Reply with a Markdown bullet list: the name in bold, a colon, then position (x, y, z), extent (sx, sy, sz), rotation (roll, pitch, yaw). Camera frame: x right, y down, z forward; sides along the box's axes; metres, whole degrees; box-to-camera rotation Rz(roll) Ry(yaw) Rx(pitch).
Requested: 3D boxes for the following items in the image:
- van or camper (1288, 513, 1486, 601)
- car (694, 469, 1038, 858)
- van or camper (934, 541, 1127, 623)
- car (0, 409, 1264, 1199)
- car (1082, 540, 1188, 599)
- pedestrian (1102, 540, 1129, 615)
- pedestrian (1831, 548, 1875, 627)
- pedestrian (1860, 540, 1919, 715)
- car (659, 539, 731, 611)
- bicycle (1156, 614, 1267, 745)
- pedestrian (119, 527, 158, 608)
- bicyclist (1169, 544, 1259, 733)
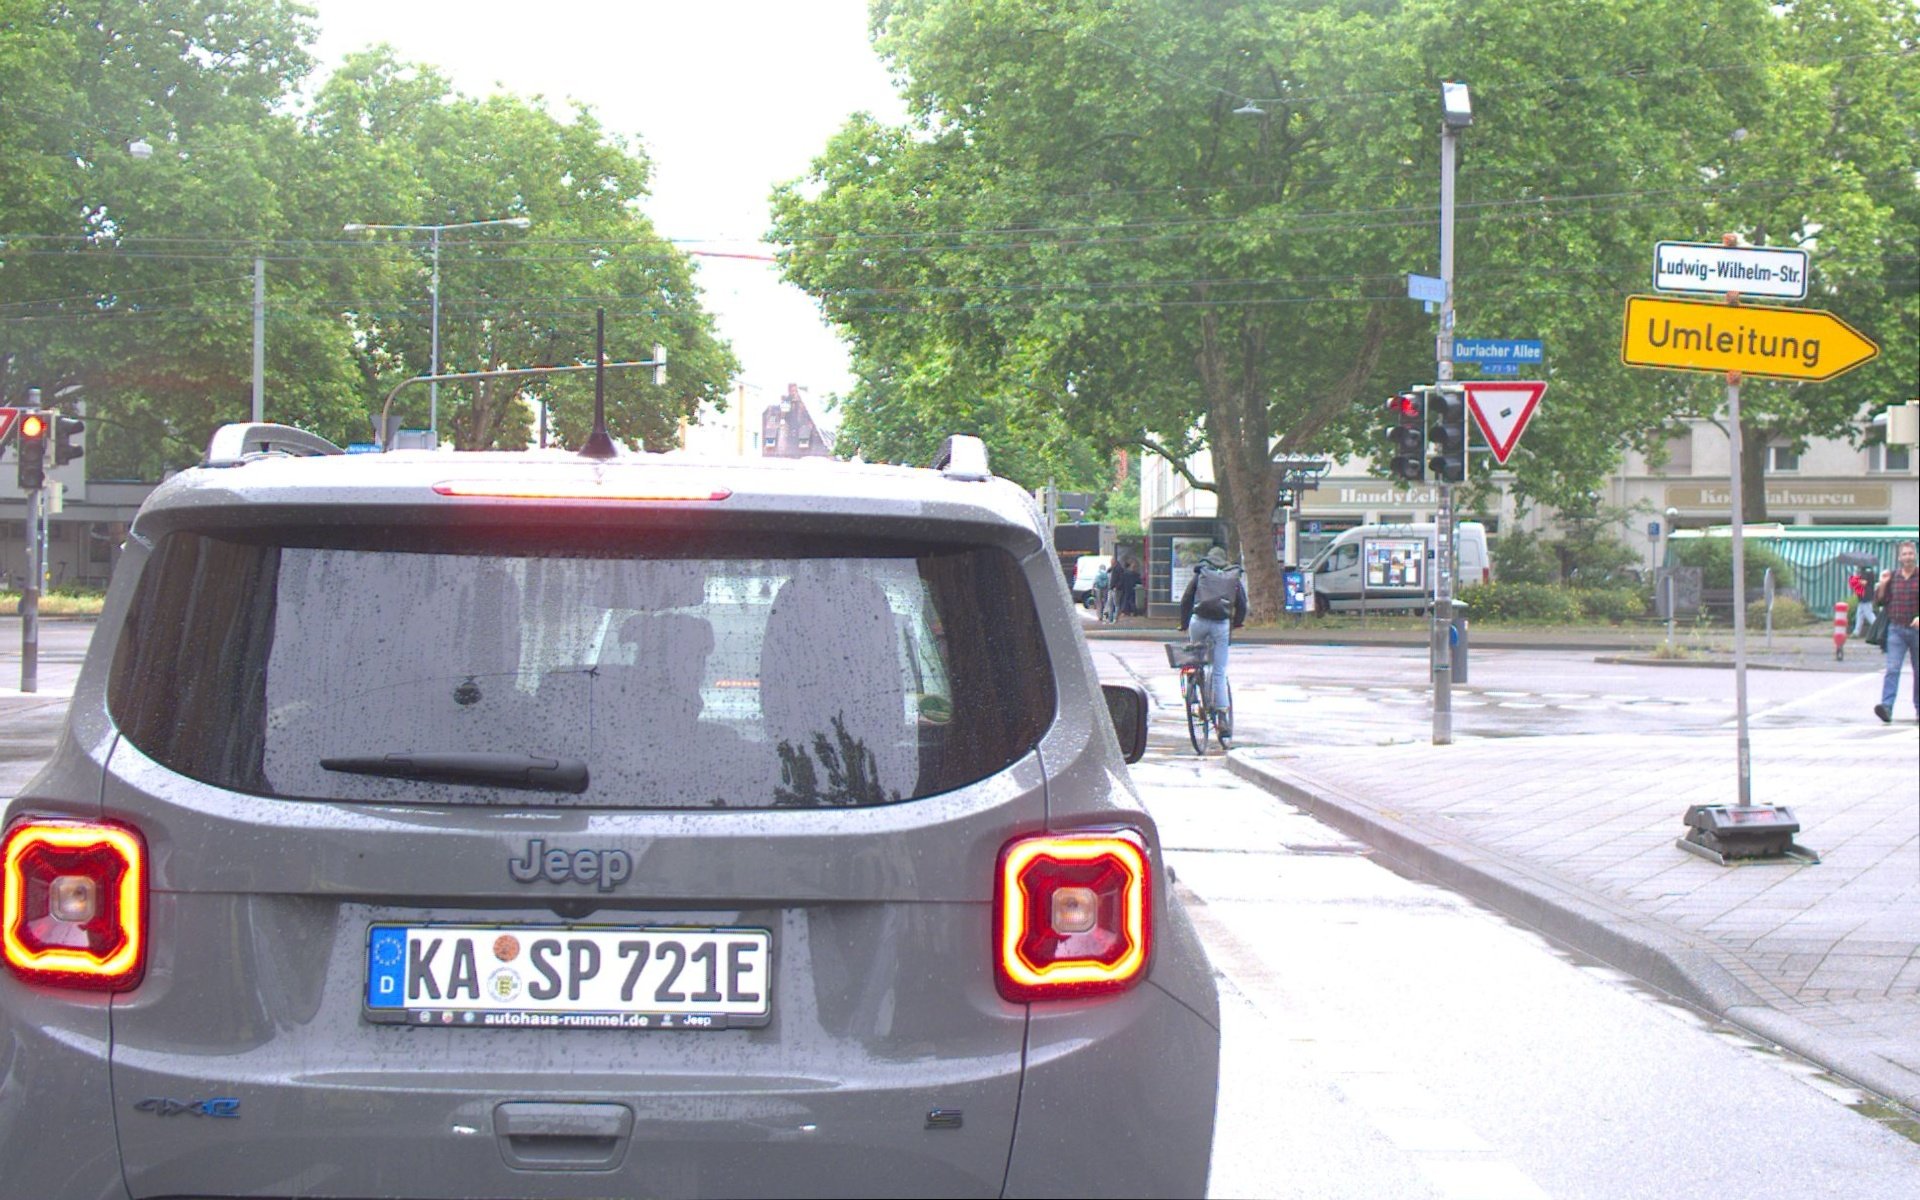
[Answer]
- **van or camper**: position (11.738, -1.196, 94.806), extent (5.260, 2.307, 2.090), rotation (1, 1, 3)
- **car**: position (-0.526, 0.299, 19.813), extent (1.770, 2.007, 4.000), rotation (0, 1, -1)
- **van or camper**: position (2.554, -0.672, 124.765), extent (6.535, 2.902, 2.491), rotation (1, 1, 24)
- **car**: position (-0.569, 0.581, 6.177), extent (1.775, 1.681, 3.848), rotation (-1, 1, -2)
- **car**: position (6.075, -1.060, 119.345), extent (3.438, 2.007, 1.547), rotation (0, 0, 13)
- **pedestrian**: position (4.188, -0.611, 92.610), extent (0.651, 2.007, 0.482), rotation (1, 1, 12)
- **pedestrian**: position (17.618, -0.241, 67.834), extent (0.674, 1.548, 0.760), rotation (1, -1, 27)
- **pedestrian**: position (9.593, 0.269, 35.051), extent (0.786, 1.753, 0.945), rotation (0, 1, 14)
- **car**: position (-6.504, -0.628, 84.375), extent (1.721, 1.733, 3.730), rotation (0, 1, -5)
- **bicycle**: position (2.197, 0.663, 29.743), extent (0.692, 1.018, 2.657), rotation (0, 1, 10)
- **pedestrian**: position (-18.402, -0.730, 77.020), extent (0.619, 1.820, 0.694), rotation (0, 1, 13)
- **bicyclist**: position (2.210, 0.321, 29.841), extent (0.687, 1.612, 0.883), rotation (0, 1, 10)
